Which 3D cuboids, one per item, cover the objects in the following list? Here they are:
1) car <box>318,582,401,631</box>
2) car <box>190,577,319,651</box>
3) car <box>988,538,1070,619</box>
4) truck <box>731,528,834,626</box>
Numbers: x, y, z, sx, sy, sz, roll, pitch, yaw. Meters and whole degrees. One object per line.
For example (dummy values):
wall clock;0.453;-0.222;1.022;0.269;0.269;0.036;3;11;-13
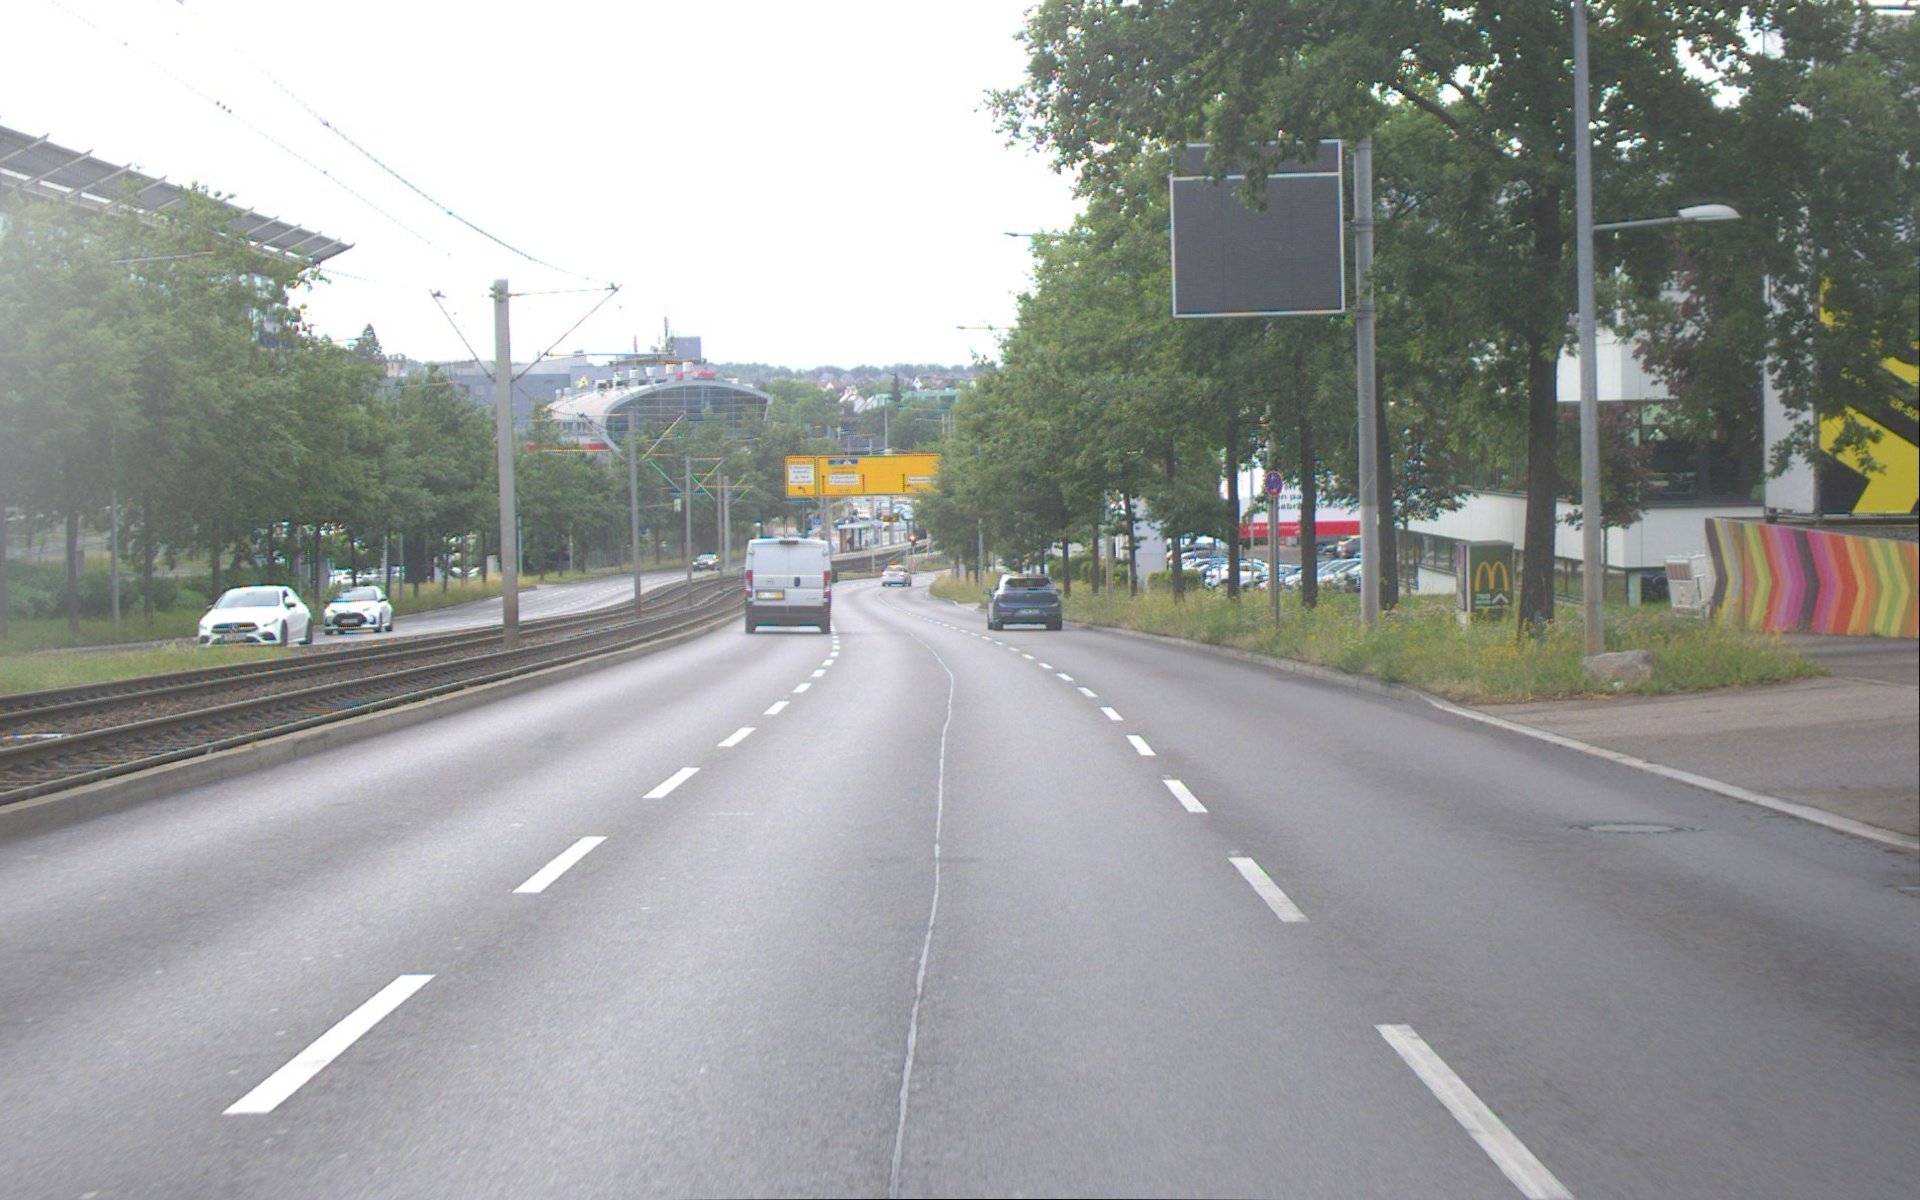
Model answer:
car;-18.851;0.198;108.035;1.881;1.442;4.138;-1;1;0
car;-15.342;0.282;74.967;1.837;1.439;4.429;-2;1;0
car;1.758;-0.559;88.621;1.993;2.007;3.934;1;0;0
truck;-4.256;-0.562;82.883;2.360;2.254;5.306;1;0;-2
